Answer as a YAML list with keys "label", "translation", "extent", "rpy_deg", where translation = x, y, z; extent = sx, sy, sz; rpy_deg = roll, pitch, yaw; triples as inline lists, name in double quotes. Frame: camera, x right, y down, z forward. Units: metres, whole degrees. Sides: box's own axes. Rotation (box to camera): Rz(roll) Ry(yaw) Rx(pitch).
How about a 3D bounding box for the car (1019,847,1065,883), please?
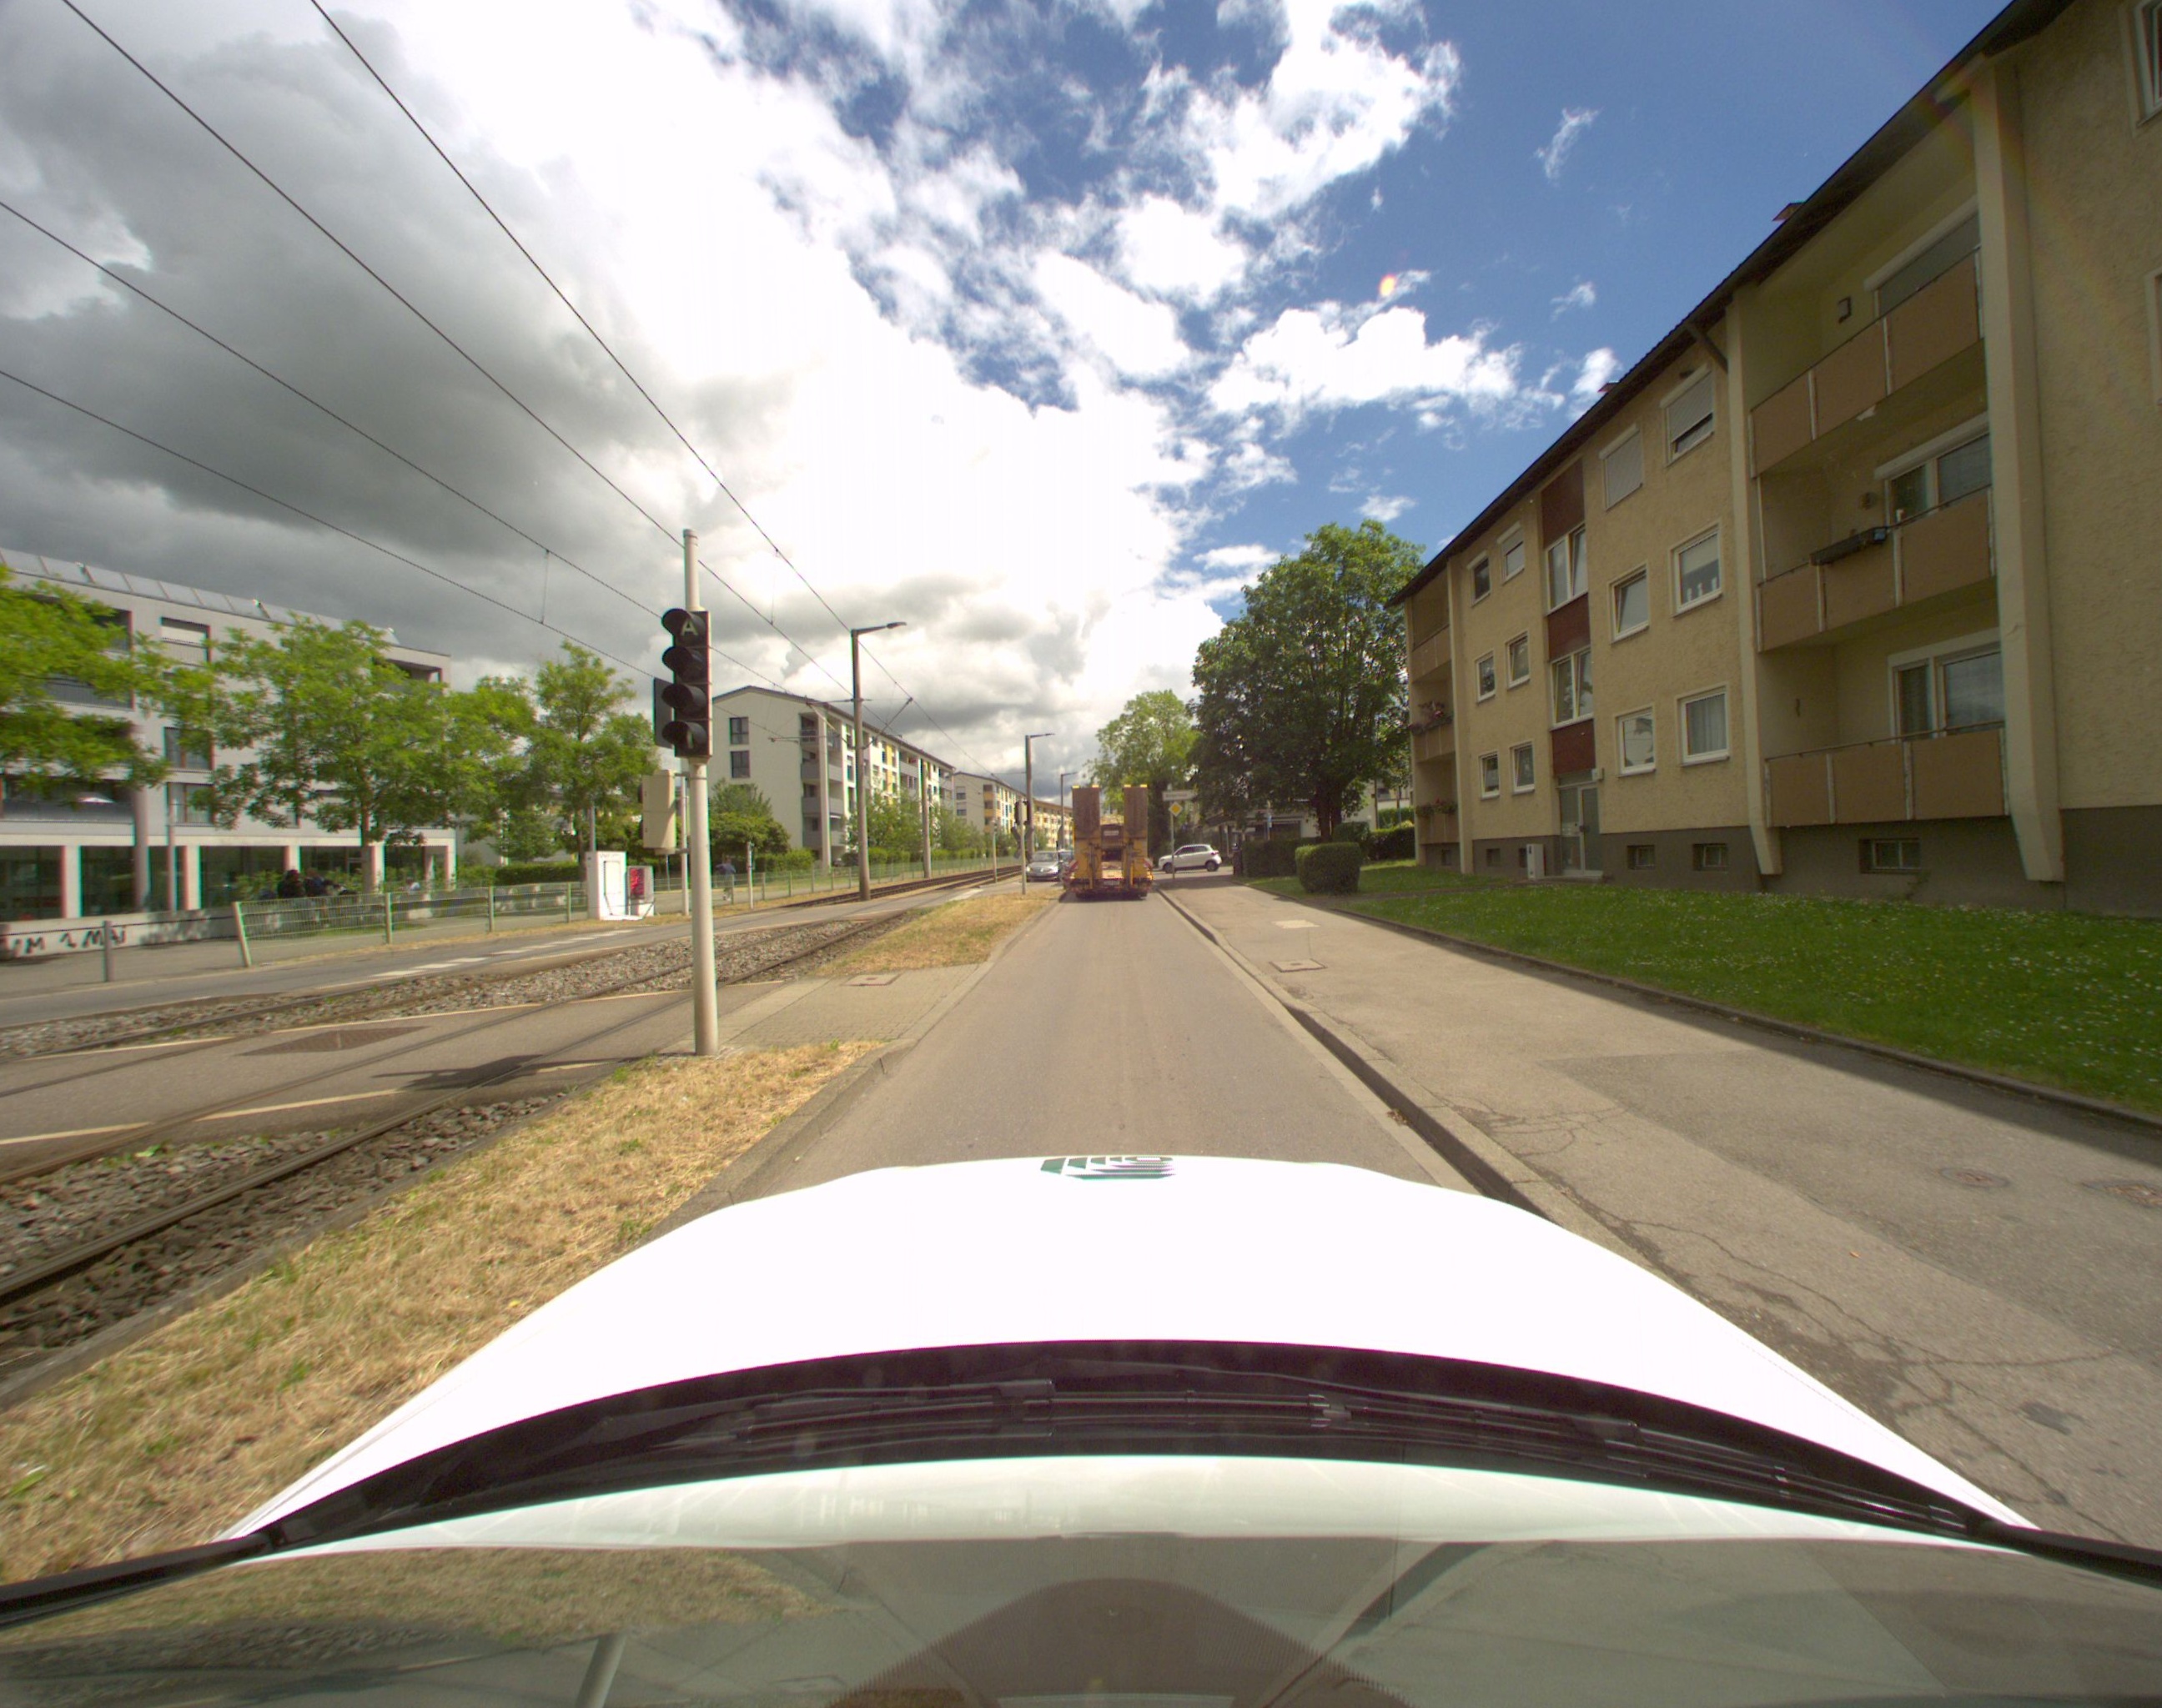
- label: "car"
  translation: [-1.971, 0.558, 42.618]
  extent: [1.794, 1.652, 4.136]
  rpy_deg: [-4, 0, 4]

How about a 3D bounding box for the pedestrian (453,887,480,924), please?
- label: "pedestrian"
  translation: [-21.841, 1.820, 28.942]
  extent: [0.539, 1.246, 0.460]
  rpy_deg: [-3, 1, 22]

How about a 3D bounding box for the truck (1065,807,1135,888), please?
- label: "truck"
  translation: [0.790, -0.375, 39.456]
  extent: [2.825, 3.330, 7.983]
  rpy_deg: [-4, 1, 0]

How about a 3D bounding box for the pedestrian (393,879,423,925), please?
- label: "pedestrian"
  translation: [-23.349, 1.661, 28.257]
  extent: [0.539, 1.547, 0.531]
  rpy_deg: [-3, 1, 22]

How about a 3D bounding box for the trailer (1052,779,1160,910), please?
- label: "trailer"
  translation: [0.720, -0.405, 30.335]
  extent: [3.041, 3.772, 11.610]
  rpy_deg: [-4, 1, 0]

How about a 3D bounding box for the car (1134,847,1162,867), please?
- label: "car"
  translation: [5.374, 0.242, 65.968]
  extent: [1.986, 1.387, 4.002]
  rpy_deg: [-4, 1, 1]

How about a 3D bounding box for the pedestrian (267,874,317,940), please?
- label: "pedestrian"
  translation: [-19.722, 1.311, 20.362]
  extent: [0.618, 1.573, 0.560]
  rpy_deg: [-3, 1, 13]

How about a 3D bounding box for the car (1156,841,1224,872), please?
- label: "car"
  translation: [6.290, 0.135, 46.858]
  extent: [3.573, 1.584, 2.008]
  rpy_deg: [-3, 0, 13]

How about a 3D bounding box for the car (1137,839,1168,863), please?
- label: "car"
  translation: [5.294, -0.258, 61.067]
  extent: [1.986, 1.617, 4.002]
  rpy_deg: [-4, 1, 1]

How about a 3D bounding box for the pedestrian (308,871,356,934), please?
- label: "pedestrian"
  translation: [-19.580, 1.259, 21.285]
  extent: [0.619, 1.573, 0.559]
  rpy_deg: [-3, 1, 7]

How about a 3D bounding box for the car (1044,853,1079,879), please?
- label: "car"
  translation: [-1.106, 0.700, 48.370]
  extent: [1.594, 1.381, 3.961]
  rpy_deg: [-4, 0, 4]

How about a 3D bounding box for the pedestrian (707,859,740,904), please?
- label: "pedestrian"
  translation: [-14.064, 1.075, 32.083]
  extent: [0.746, 1.661, 0.871]
  rpy_deg: [-4, 1, 5]

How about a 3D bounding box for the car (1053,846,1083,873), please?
- label: "car"
  translation: [-0.865, 0.399, 57.145]
  extent: [1.594, 1.732, 3.943]
  rpy_deg: [-4, 0, 4]
